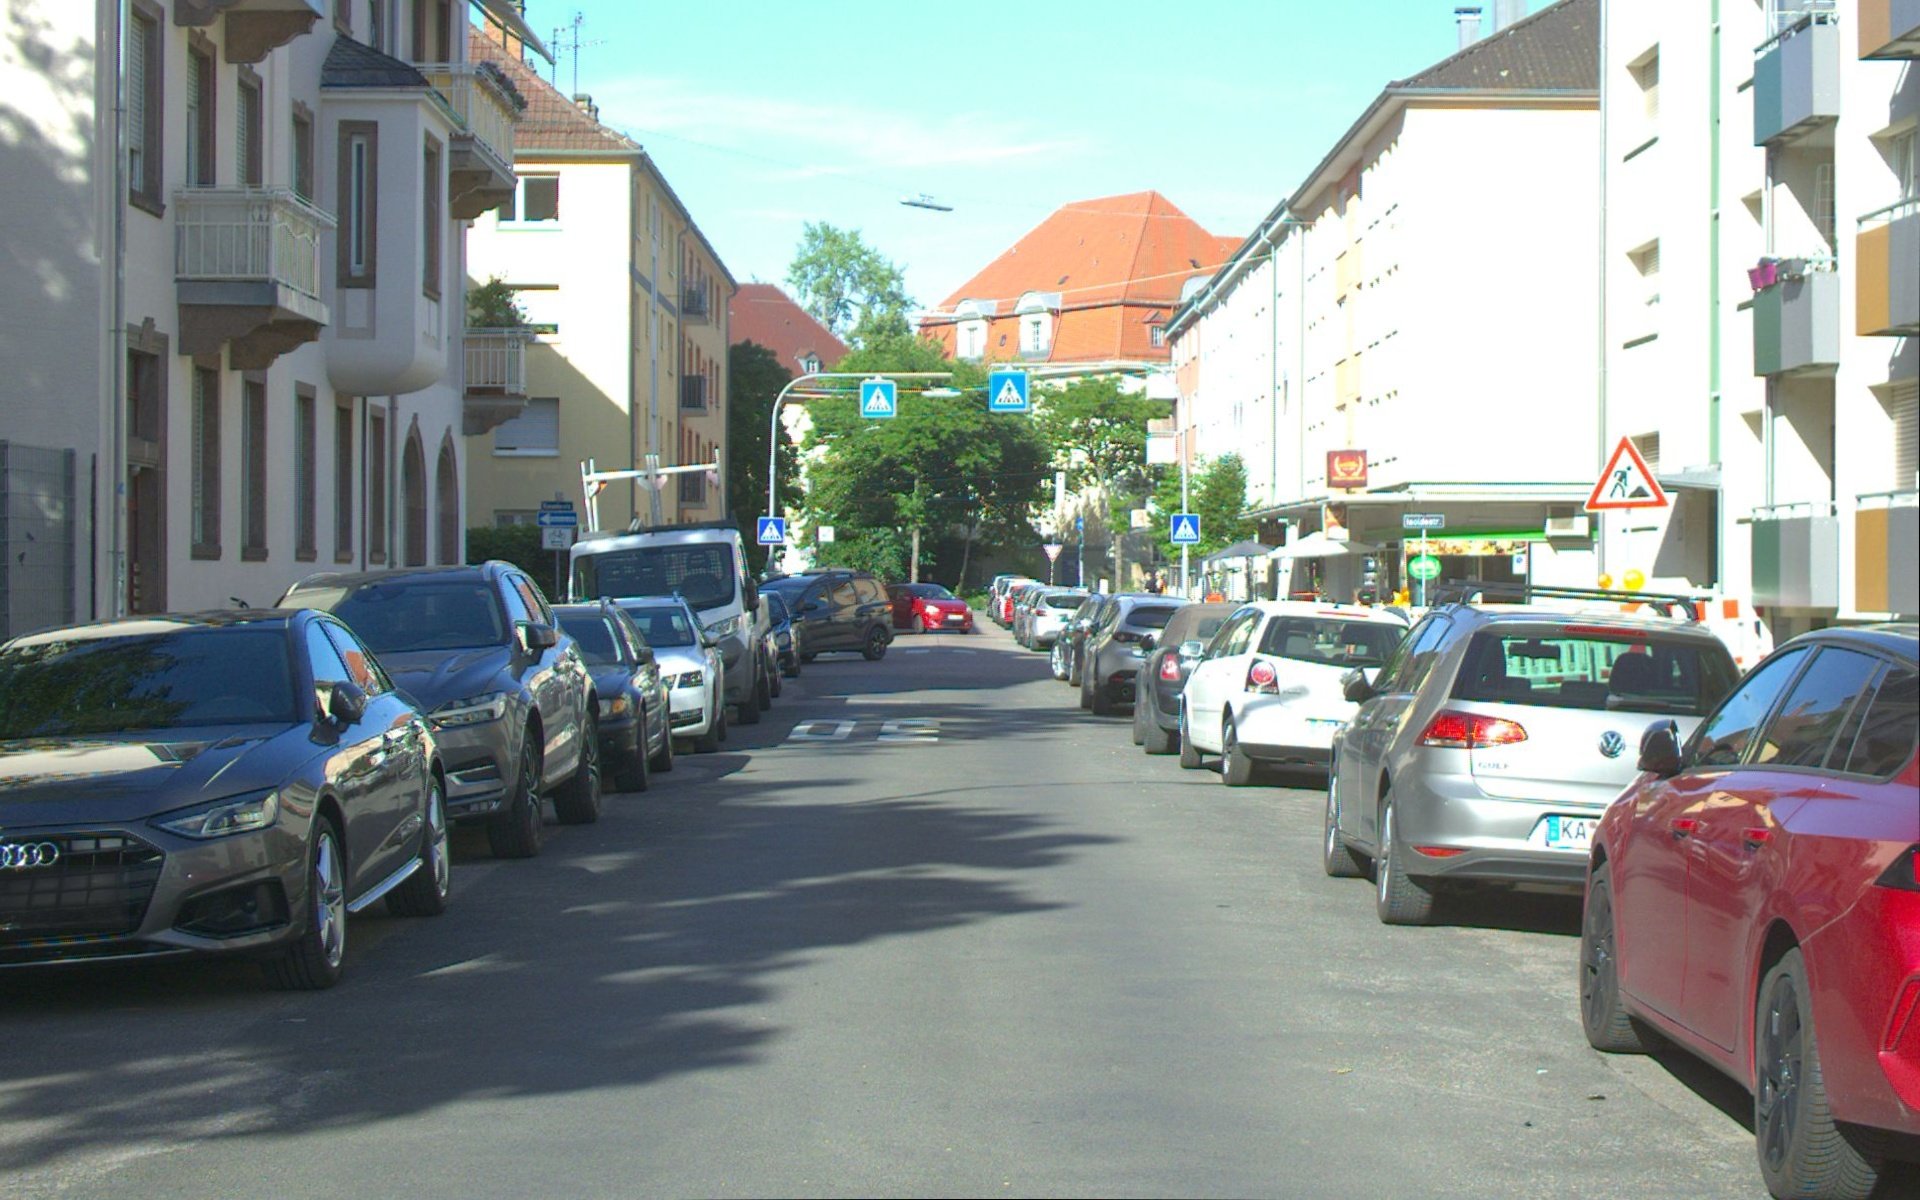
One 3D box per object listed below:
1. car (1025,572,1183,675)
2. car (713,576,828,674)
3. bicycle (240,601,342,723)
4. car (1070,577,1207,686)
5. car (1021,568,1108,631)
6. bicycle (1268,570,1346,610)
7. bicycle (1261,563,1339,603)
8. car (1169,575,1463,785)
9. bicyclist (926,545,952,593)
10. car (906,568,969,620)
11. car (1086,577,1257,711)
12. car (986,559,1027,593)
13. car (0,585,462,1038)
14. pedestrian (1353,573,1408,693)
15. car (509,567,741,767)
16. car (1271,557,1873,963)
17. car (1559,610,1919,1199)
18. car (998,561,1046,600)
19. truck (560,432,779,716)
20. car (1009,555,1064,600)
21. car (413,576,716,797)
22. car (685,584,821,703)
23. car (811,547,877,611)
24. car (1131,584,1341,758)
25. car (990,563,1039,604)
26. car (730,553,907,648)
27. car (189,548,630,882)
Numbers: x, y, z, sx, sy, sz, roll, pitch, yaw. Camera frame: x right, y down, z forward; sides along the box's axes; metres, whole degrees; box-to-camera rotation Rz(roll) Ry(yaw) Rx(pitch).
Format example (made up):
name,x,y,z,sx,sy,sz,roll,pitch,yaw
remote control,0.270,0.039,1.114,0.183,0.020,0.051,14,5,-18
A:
name,x,y,z,sx,sy,sz,roll,pitch,yaw
car,2.193,0.350,53.554,1.853,1.518,4.778,0,0,-5
car,-3.082,0.396,56.418,1.703,1.411,4.375,-5,0,-2
bicycle,-7.130,0.645,36.720,0.629,1.199,2.341,0,1,0
car,2.473,0.426,48.448,1.645,1.455,3.940,0,0,-1
car,2.429,-0.026,80.867,1.845,1.436,3.419,0,1,-1
bicycle,8.538,-0.253,84.574,1.806,0.964,0.674,0,1,-10
bicycle,8.418,-0.418,85.202,1.806,0.964,0.674,0,1,-10
car,2.825,0.597,28.049,1.685,1.458,3.820,5,0,-3
bicyclist,-0.713,-1.062,117.038,0.786,1.615,0.956,-2,1,4
car,-0.630,-0.184,98.811,1.697,1.436,3.419,0,1,2
car,2.555,0.509,42.453,1.792,1.466,4.339,3,0,0
car,1.963,-1.022,147.023,1.637,1.436,3.419,0,1,-1
car,-3.197,0.719,13.820,1.794,1.466,4.502,-3,1,-2
pedestrian,5.125,0.399,41.921,0.575,1.428,0.471,-2,1,2
car,-3.102,0.571,32.696,1.792,1.535,4.642,-6,1,-2
car,2.743,0.644,16.522,1.898,1.616,4.603,2,0,-2
car,2.859,0.775,9.395,1.752,1.439,4.523,0,0,1
car,2.296,-0.737,127.816,1.637,1.436,3.419,0,1,-1
truck,-3.249,-0.284,39.851,2.259,2.976,7.276,0,0,-3
car,2.489,-0.739,112.492,1.637,1.436,3.419,0,1,-1
car,-2.976,0.605,26.698,1.792,1.557,4.459,0,0,0
car,-2.762,0.565,46.447,1.645,1.411,4.081,-5,0,-2
car,-3.261,-0.615,97.360,1.697,1.773,4.099,0,1,0
car,2.568,0.626,32.724,1.688,1.462,3.583,2,1,1
car,1.931,-0.612,123.184,1.637,1.436,3.419,0,1,-1
car,-2.540,-0.011,62.637,1.823,1.628,4.253,0,1,18
car,-3.095,0.577,20.336,1.878,1.658,4.932,-3,1,-2
